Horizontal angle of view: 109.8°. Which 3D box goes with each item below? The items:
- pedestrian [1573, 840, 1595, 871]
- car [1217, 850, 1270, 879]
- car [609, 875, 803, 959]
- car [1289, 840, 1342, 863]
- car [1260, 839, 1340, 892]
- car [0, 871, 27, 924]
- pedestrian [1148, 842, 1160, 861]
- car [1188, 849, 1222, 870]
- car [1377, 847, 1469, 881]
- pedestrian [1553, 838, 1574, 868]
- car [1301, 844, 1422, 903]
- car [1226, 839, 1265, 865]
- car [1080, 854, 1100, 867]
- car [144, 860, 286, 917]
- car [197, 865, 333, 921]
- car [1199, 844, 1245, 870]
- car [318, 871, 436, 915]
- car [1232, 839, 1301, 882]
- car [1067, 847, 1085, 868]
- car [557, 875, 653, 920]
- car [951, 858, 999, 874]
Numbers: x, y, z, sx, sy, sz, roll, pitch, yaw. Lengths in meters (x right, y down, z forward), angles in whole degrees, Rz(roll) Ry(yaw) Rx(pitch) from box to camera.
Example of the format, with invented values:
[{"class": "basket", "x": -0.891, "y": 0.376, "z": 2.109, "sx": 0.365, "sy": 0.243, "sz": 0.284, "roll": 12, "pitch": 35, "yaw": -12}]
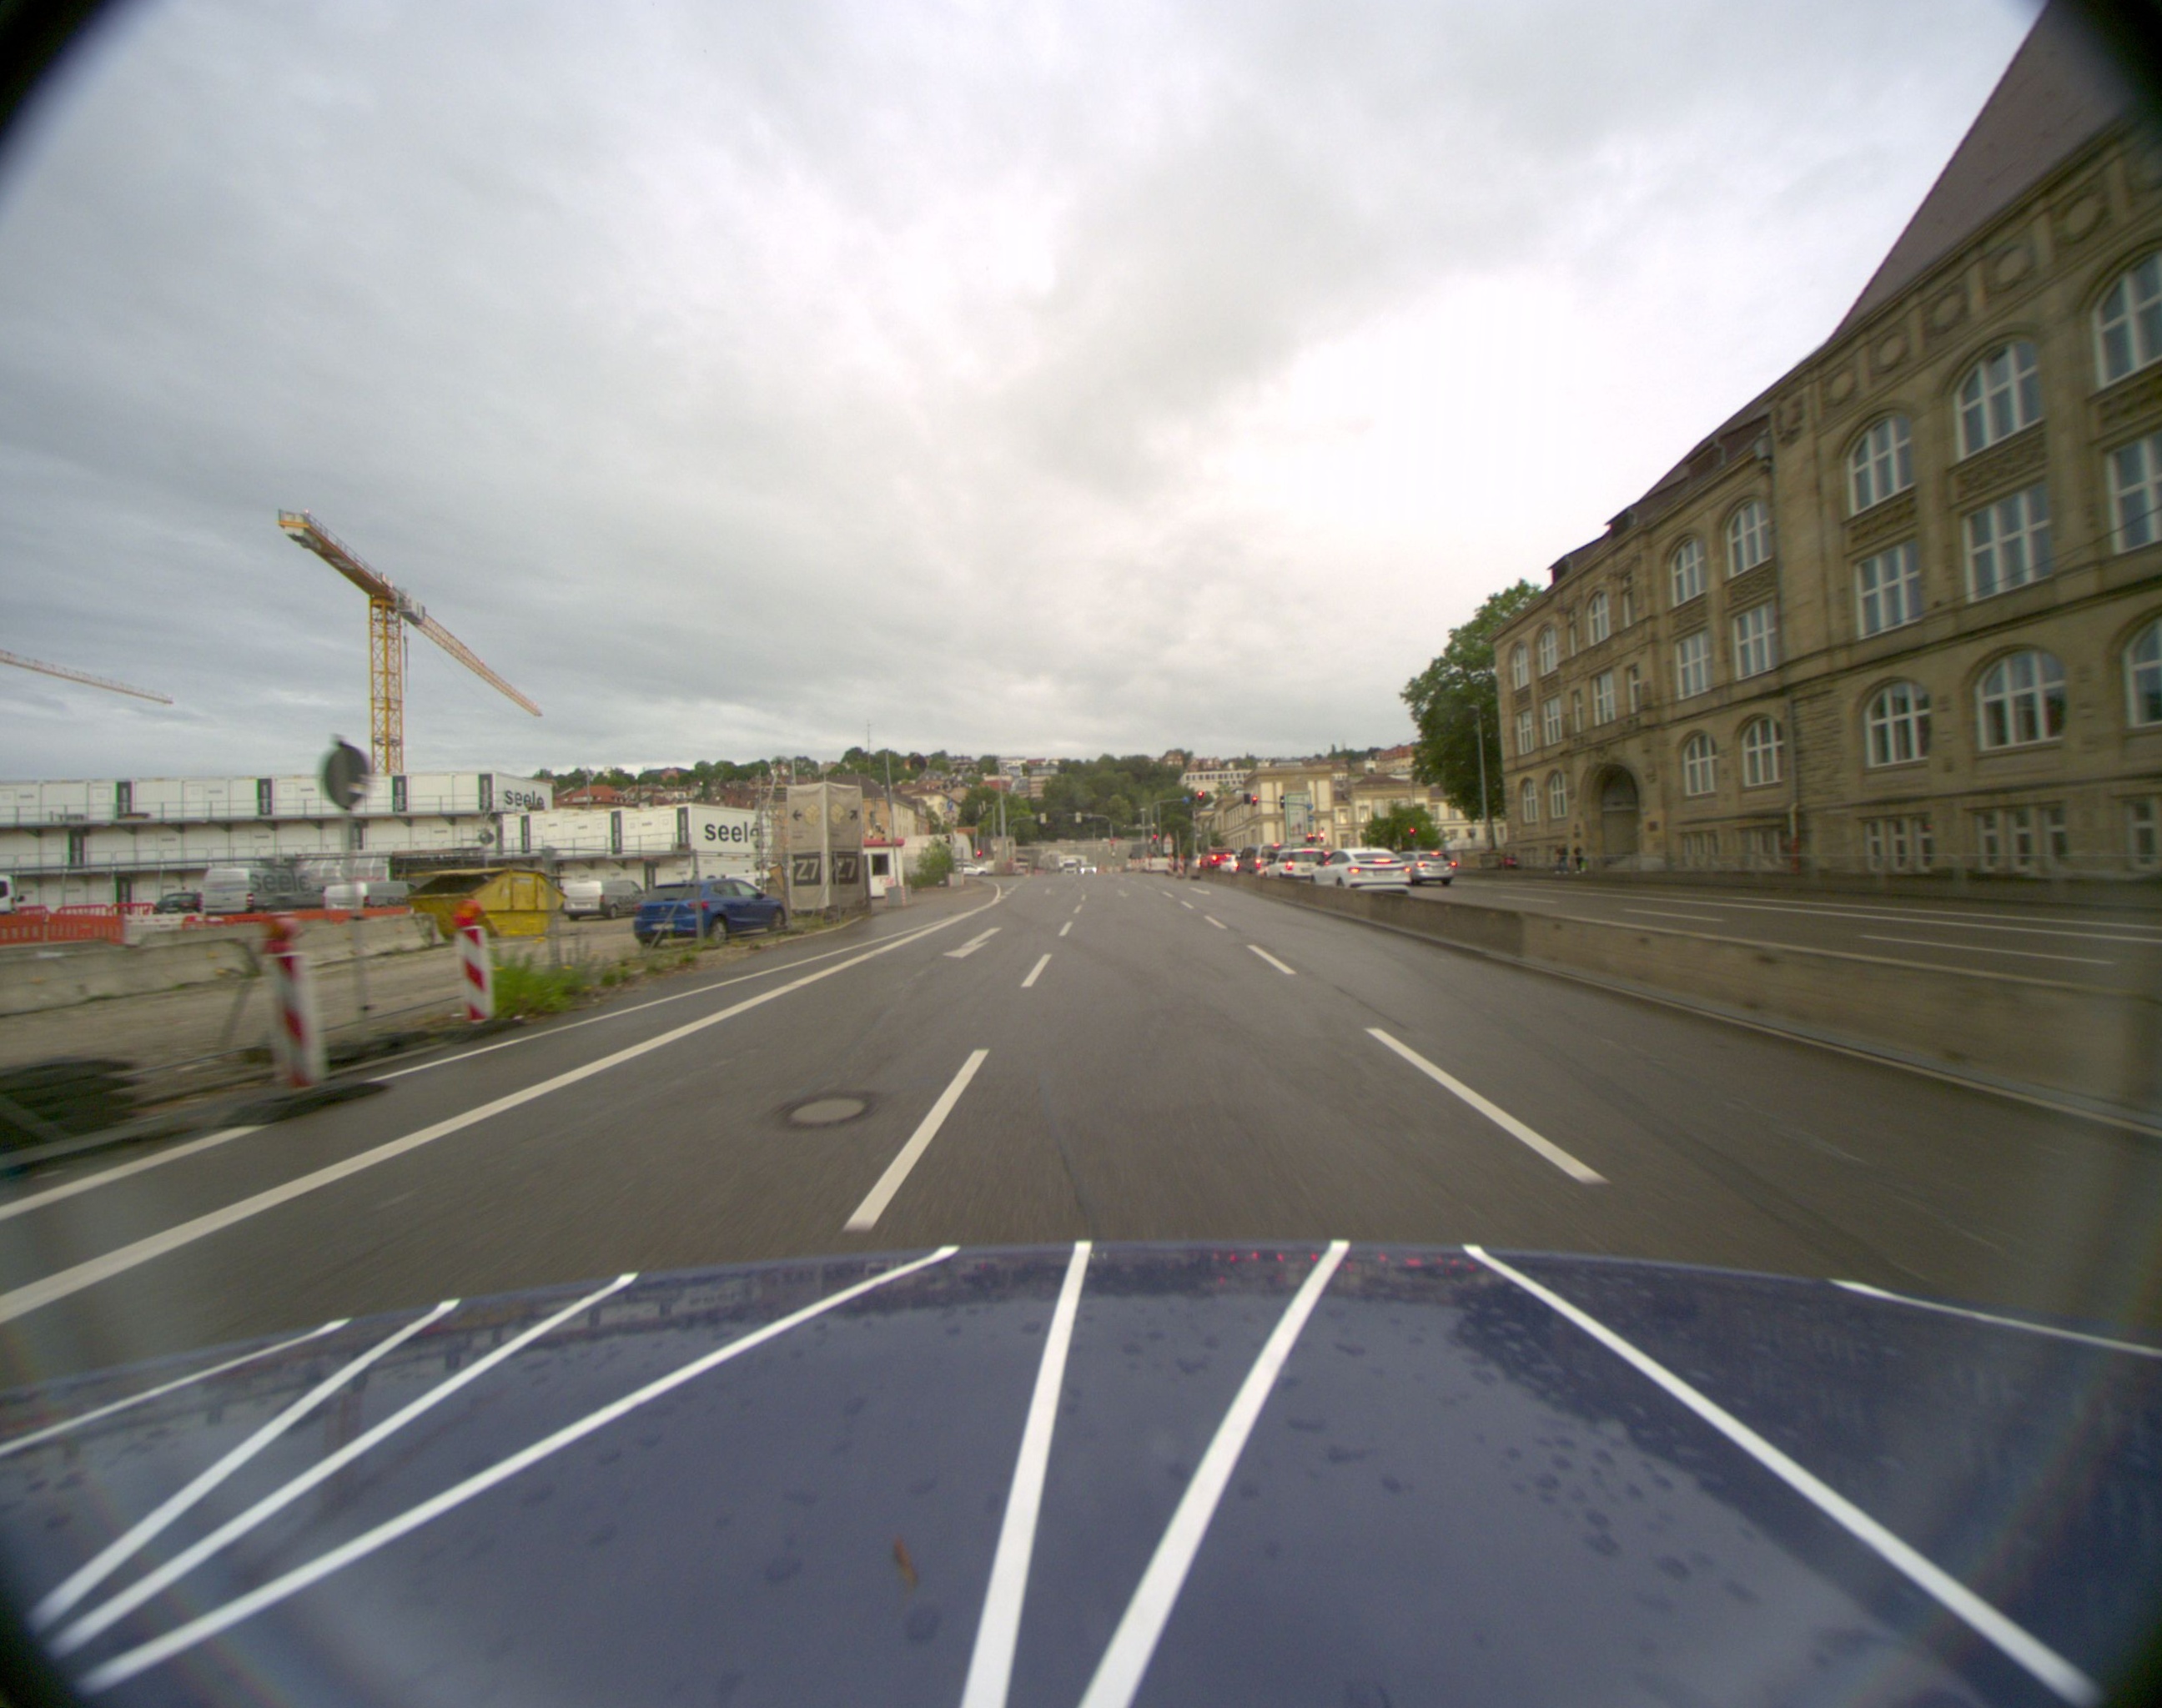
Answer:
[{"class": "pedestrian", "x": 26.142, "y": 0.065, "z": 39.473, "sx": 0.618, "sy": 1.575, "sz": 0.734, "roll": -1, "pitch": 1, "yaw": -4}, {"class": "car", "x": 9.185, "y": 0.563, "z": 43.426, "sx": 1.998, "sy": 1.493, "sz": 4.821, "roll": -1, "pitch": 1, "yaw": 0}, {"class": "car", "x": -8.360, "y": 1.329, "z": 17.493, "sx": 1.836, "sy": 1.433, "sz": 4.414, "roll": -4, "pitch": 0, "yaw": 6}, {"class": "car", "x": 14.742, "y": -0.173, "z": 47.963, "sx": 1.999, "sy": 1.374, "sz": 4.211, "roll": -1, "pitch": 1, "yaw": -1}, {"class": "car", "x": 8.389, "y": 0.394, "z": 29.468, "sx": 1.914, "sy": 1.855, "sz": 4.378, "roll": -1, "pitch": 1, "yaw": 1}, {"class": "car", "x": -51.873, "y": 2.052, "z": 35.805, "sx": 4.390, "sy": 2.369, "sz": 2.155, "roll": 0, "pitch": 1, "yaw": 31}, {"class": "pedestrian", "x": 6.489, "y": -0.240, "z": 67.827, "sx": 0.785, "sy": 1.700, "sz": 0.760, "roll": -1, "pitch": 1, "yaw": -21}, {"class": "car", "x": 9.567, "y": 0.396, "z": 58.828, "sx": 1.998, "sy": 1.462, "sz": 4.561, "roll": -1, "pitch": 1, "yaw": 2}, {"class": "car", "x": 14.848, "y": 0.393, "z": 33.273, "sx": 1.999, "sy": 1.374, "sz": 4.210, "roll": -1, "pitch": 1, "yaw": -3}, {"class": "pedestrian", "x": 25.211, "y": -0.044, "z": 39.706, "sx": 0.618, "sy": 1.575, "sz": 0.735, "roll": 0, "pitch": 1, "yaw": 3}, {"class": "car", "x": 8.198, "y": 0.496, "z": 22.725, "sx": 1.898, "sy": 1.558, "sz": 4.898, "roll": -1, "pitch": 1, "yaw": 1}, {"class": "car", "x": 12.129, "y": -0.154, "z": 56.166, "sx": 1.998, "sy": 1.784, "sz": 4.615, "roll": -1, "pitch": 1, "yaw": 2}, {"class": "car", "x": 1.068, "y": 0.762, "z": 92.571, "sx": 1.999, "sy": 1.561, "sz": 3.998, "roll": -1, "pitch": 1, "yaw": -4}, {"class": "car", "x": -42.492, "y": 1.615, "z": 37.497, "sx": 2.001, "sy": 2.545, "sz": 4.977, "roll": 0, "pitch": 0, "yaw": -12}, {"class": "car", "x": -40.051, "y": 1.830, "z": 37.524, "sx": 2.001, "sy": 2.428, "sz": 4.977, "roll": -1, "pitch": 1, "yaw": -12}, {"class": "car", "x": 9.129, "y": 0.166, "z": 49.597, "sx": 1.998, "sy": 1.558, "sz": 5.381, "roll": -1, "pitch": 1, "yaw": 0}, {"class": "car", "x": -34.822, "y": 1.875, "z": 37.786, "sx": 2.001, "sy": 1.876, "sz": 4.977, "roll": 0, "pitch": 0, "yaw": -12}, {"class": "car", "x": 8.716, "y": 0.253, "z": 36.215, "sx": 1.998, "sy": 1.855, "sz": 5.595, "roll": -1, "pitch": 1, "yaw": 1}, {"class": "car", "x": -0.860, "y": 0.580, "z": 145.366, "sx": 2.836, "sy": 3.990, "sz": 8.726, "roll": 0, "pitch": 1, "yaw": 3}, {"class": "car", "x": -22.760, "y": 2.041, "z": 36.565, "sx": 2.019, "sy": 1.890, "sz": 4.651, "roll": -1, "pitch": 0, "yaw": -6}, {"class": "car", "x": -10.467, "y": 1.145, "z": 75.090, "sx": 4.563, "sy": 1.462, "sz": 1.997, "roll": -1, "pitch": 1, "yaw": -14}]
